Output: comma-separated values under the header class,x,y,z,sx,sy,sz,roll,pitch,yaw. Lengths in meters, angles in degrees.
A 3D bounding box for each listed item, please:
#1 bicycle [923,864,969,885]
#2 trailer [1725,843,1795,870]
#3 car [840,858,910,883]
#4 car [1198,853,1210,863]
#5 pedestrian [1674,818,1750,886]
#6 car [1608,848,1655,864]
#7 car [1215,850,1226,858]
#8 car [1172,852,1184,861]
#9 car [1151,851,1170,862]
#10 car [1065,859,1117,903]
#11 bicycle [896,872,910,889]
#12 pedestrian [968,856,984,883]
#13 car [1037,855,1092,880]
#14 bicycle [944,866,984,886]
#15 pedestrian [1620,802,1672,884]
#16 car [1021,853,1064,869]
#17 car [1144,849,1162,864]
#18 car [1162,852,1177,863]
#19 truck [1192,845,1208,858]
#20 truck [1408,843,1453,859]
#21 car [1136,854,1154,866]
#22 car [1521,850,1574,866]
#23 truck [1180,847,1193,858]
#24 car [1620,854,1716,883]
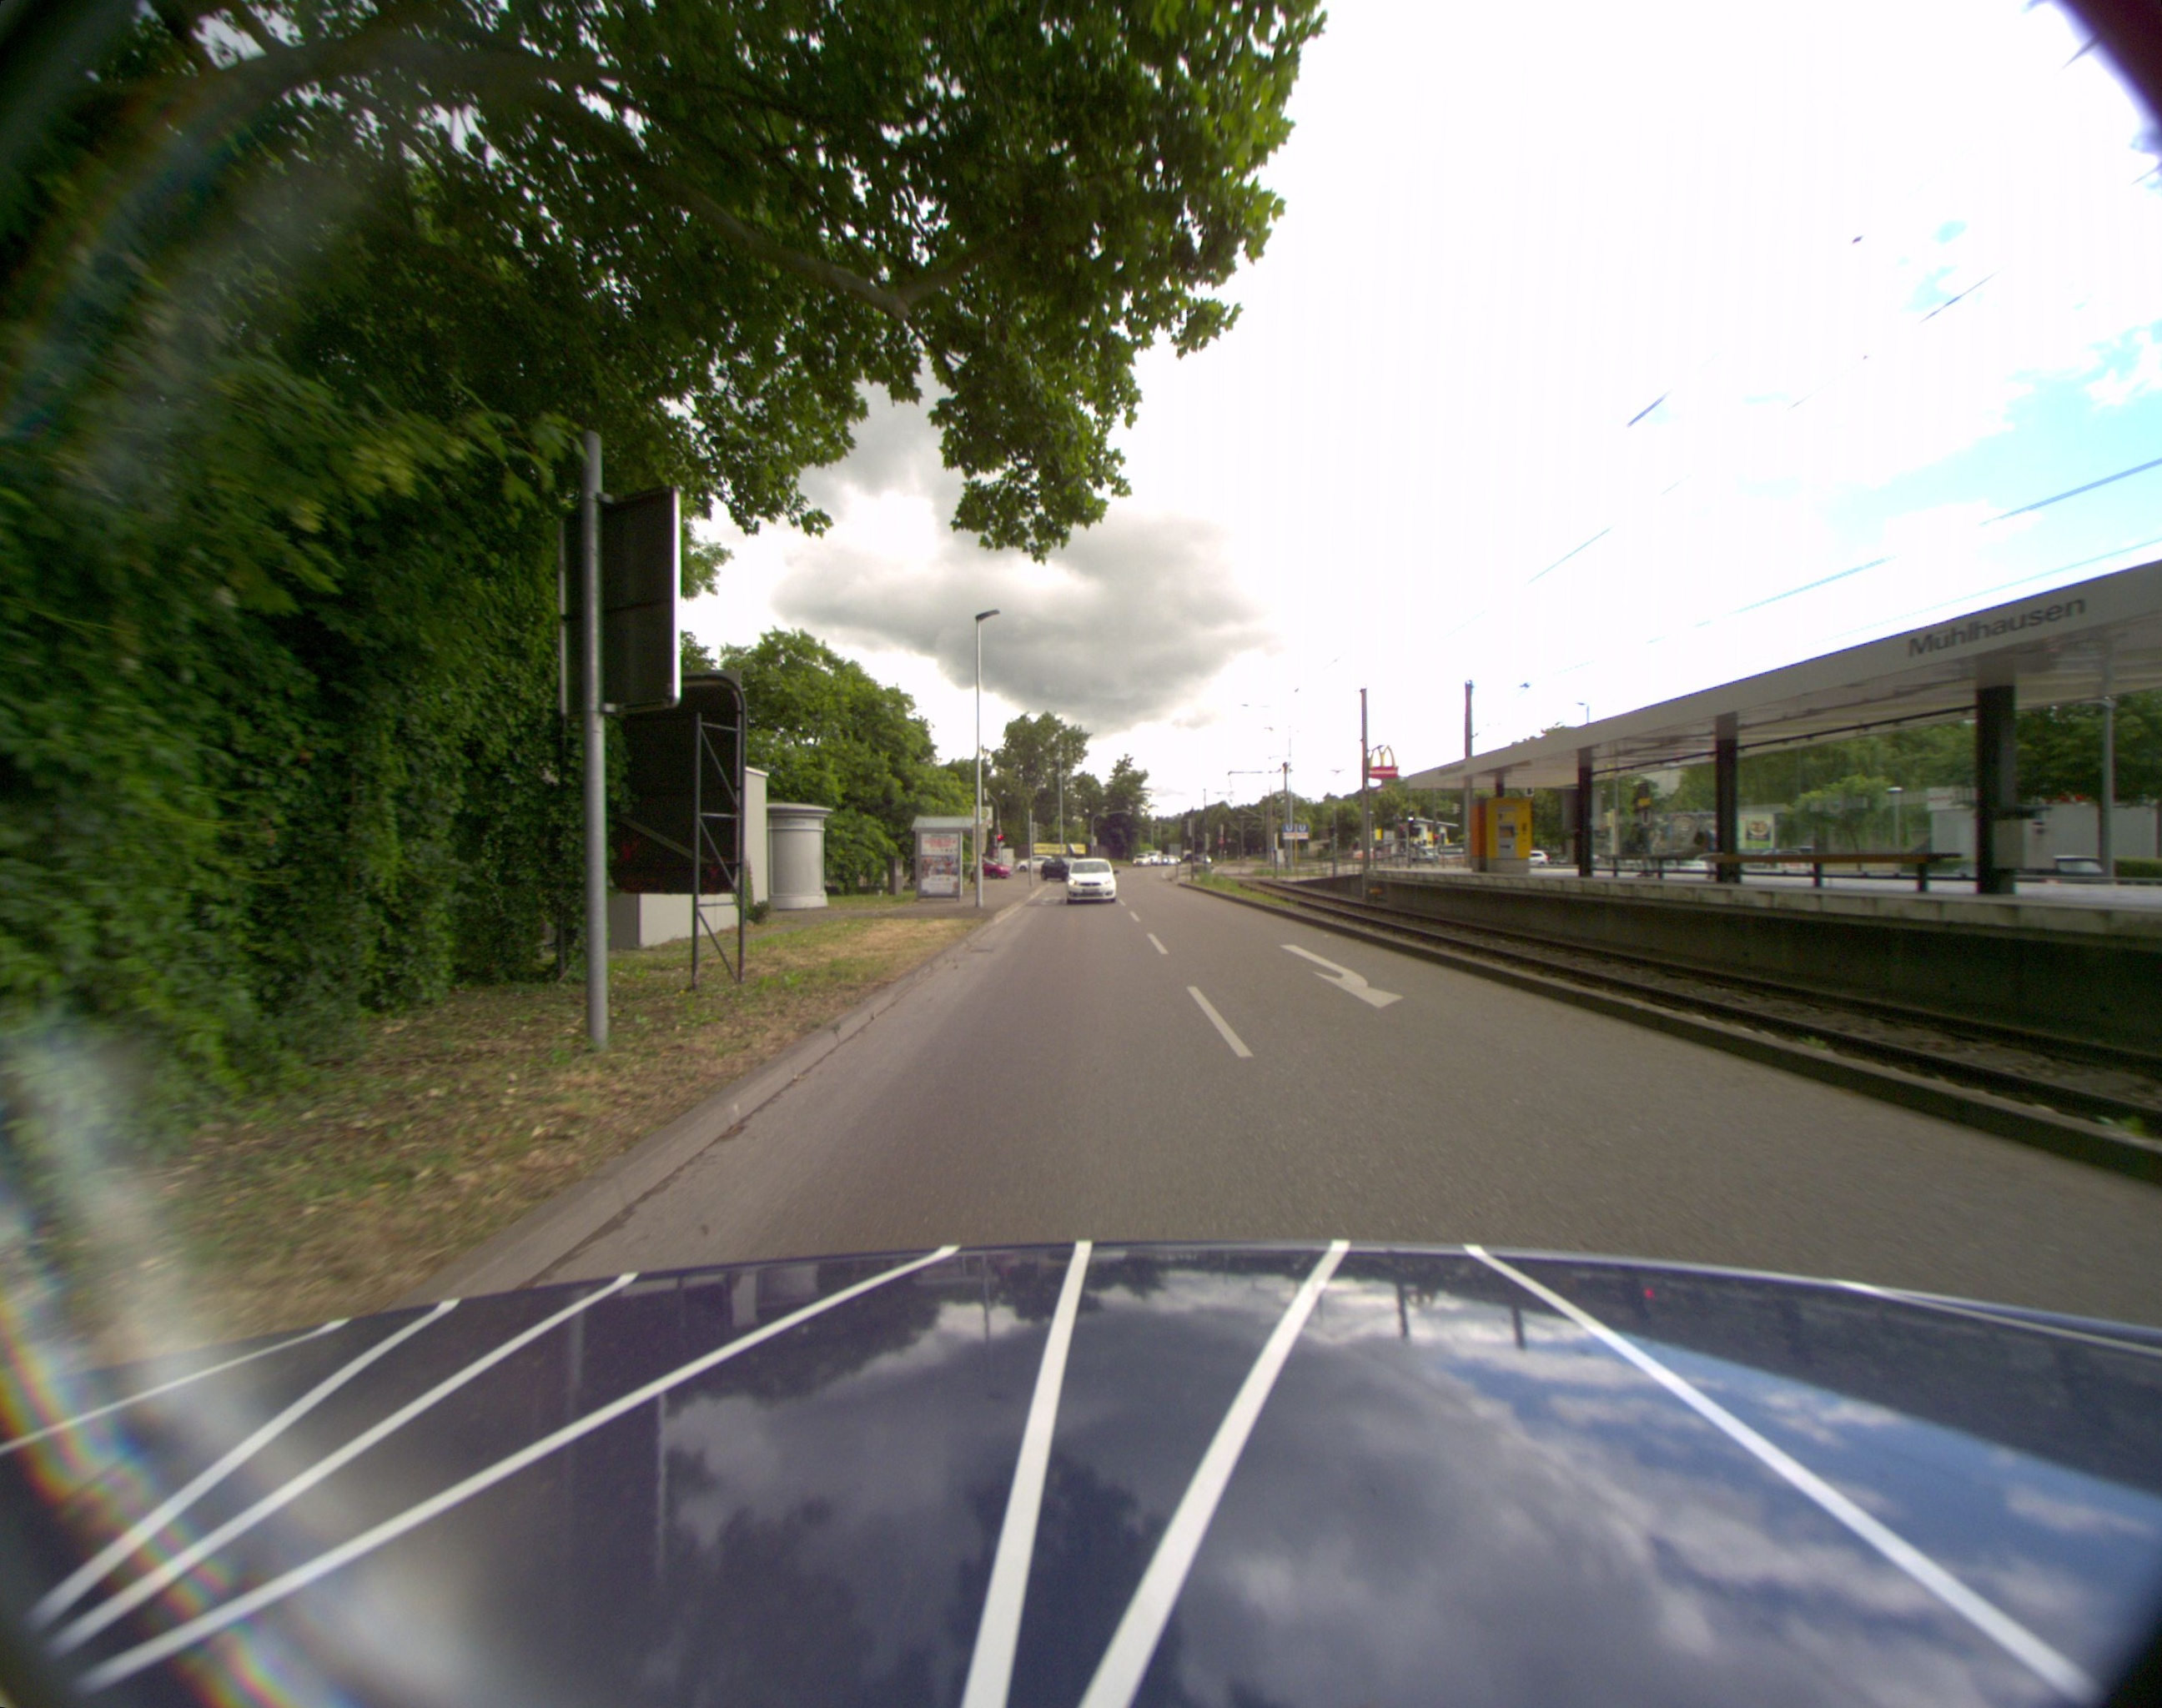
class,x,y,z,sx,sy,sz,roll,pitch,yaw
bicycle,-6.339,0.954,35.650,2.040,0.934,0.592,-1,0,15
trailer,56.819,0.197,63.640,4.388,2.245,1.560,1,1,1
car,-14.289,1.130,52.652,4.512,1.607,1.894,-1,0,-20
car,21.245,0.684,131.563,1.965,1.543,4.003,1,0,10
pedestrian,11.308,-0.039,13.635,0.771,1.182,0.728,0,1,4
car,56.950,0.195,78.587,3.639,1.545,1.727,1,1,-2
car,37.812,-0.003,205.955,1.998,2.002,4.000,1,0,0
car,17.663,0.427,138.278,1.829,1.543,4.003,1,0,10
car,11.069,0.343,105.612,1.996,1.527,4.004,1,0,13
car,0.296,0.923,27.261,1.674,1.439,3.604,-1,0,-2
bicycle,-9.131,1.350,39.026,0.478,0.803,1.514,-1,0,-4
pedestrian,-5.761,0.844,41.643,0.755,1.505,0.671,1,1,0
car,-1.126,0.866,50.376,1.724,1.522,4.176,-1,1,-32
bicycle,-5.717,1.082,37.225,1.871,0.919,0.545,0,1,2
pedestrian,11.415,-0.219,15.366,0.585,1.611,0.572,1,1,2
car,-3.556,0.637,69.988,3.826,1.446,1.632,0,0,1
car,9.275,0.320,97.436,1.807,1.814,4.004,-1,0,13
car,13.130,0.481,112.251,1.829,1.543,4.003,1,0,11
truck,32.996,-0.644,211.343,3.435,3.539,8.700,1,0,2
truck,42.122,-0.349,91.855,2.599,1.894,6.198,1,0,1
car,7.700,0.716,91.326,1.718,1.410,4.004,1,0,12
car,45.409,0.389,73.951,4.419,1.423,1.794,-1,0,-12
truck,29.402,-0.492,211.131,2.711,3.014,8.310,1,0,2
car,28.524,0.663,37.076,1.617,1.342,4.031,-1,0,1
